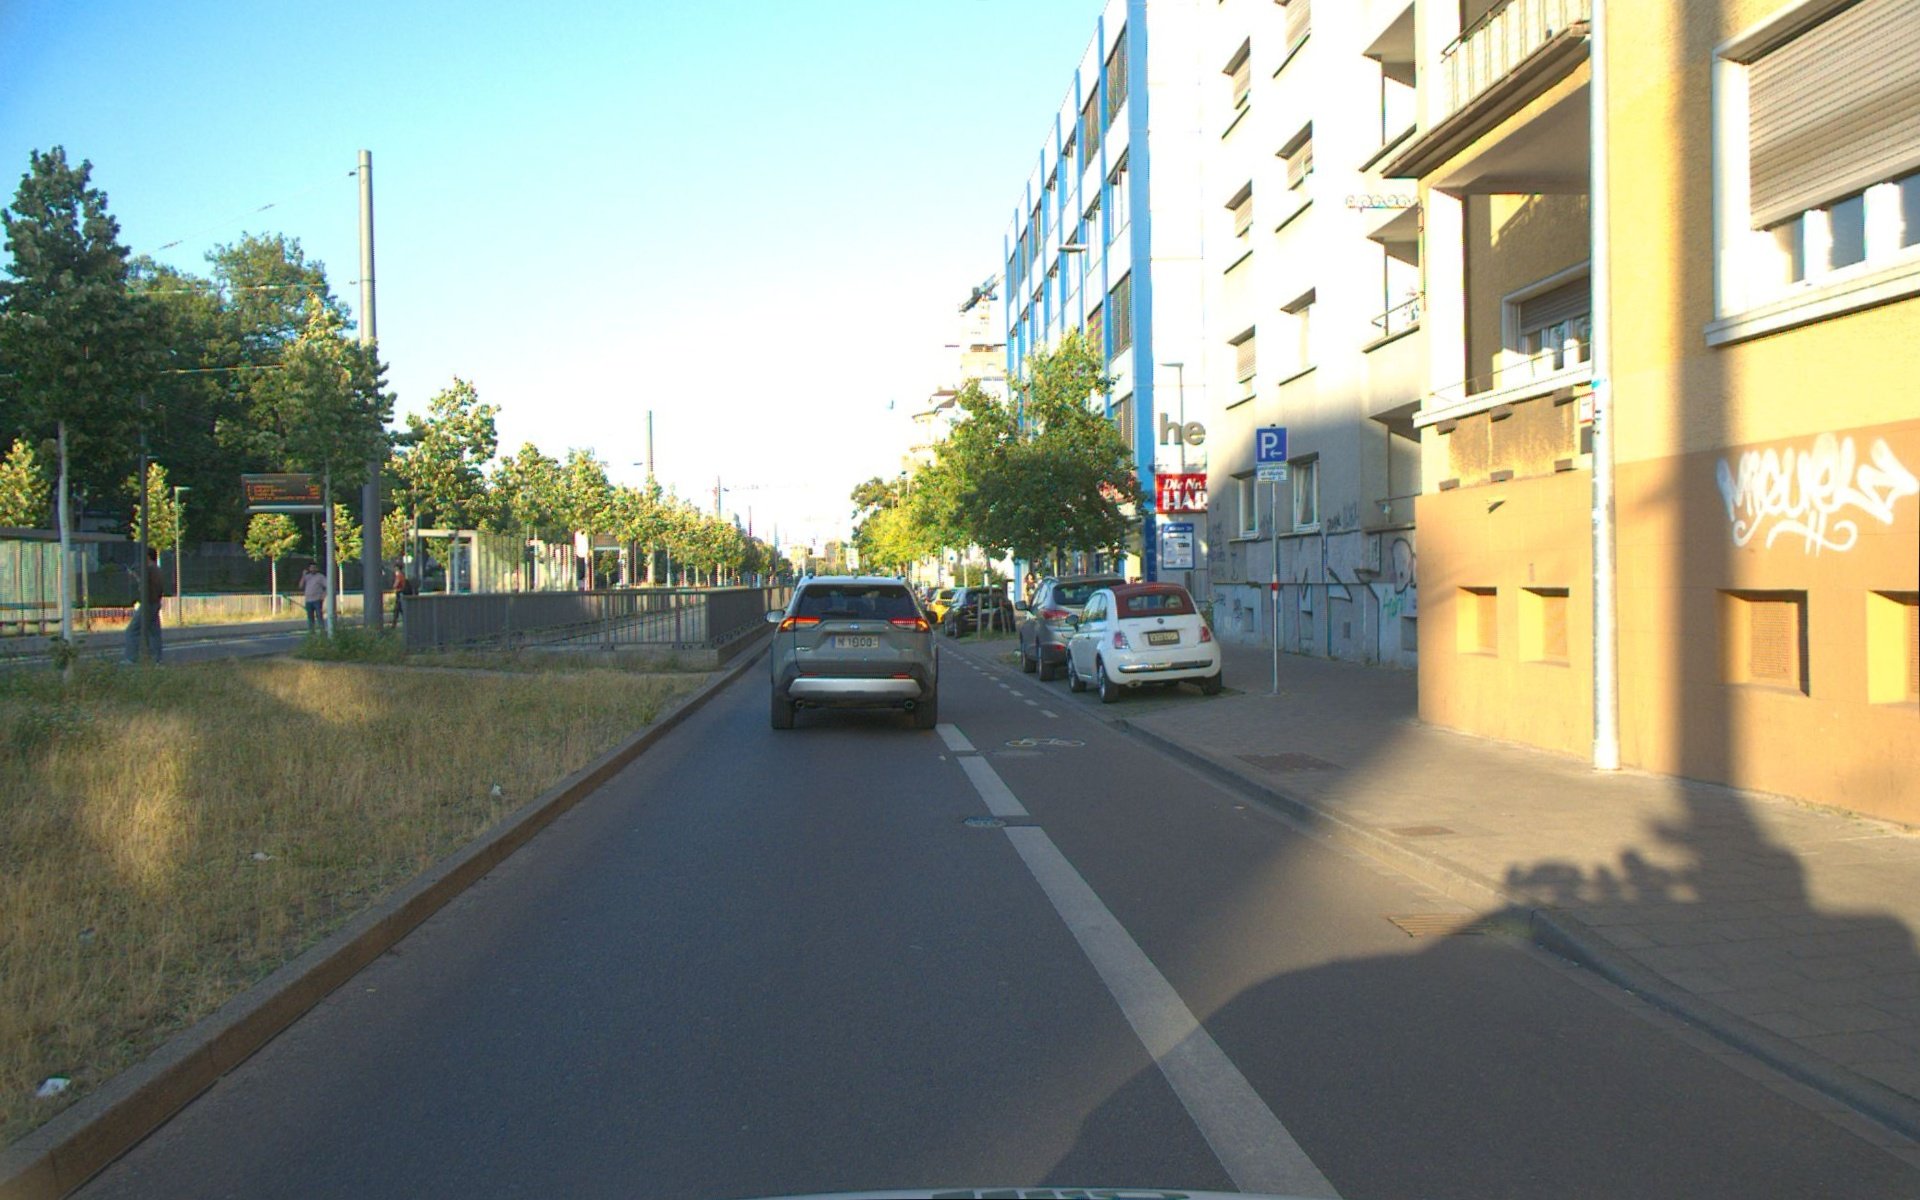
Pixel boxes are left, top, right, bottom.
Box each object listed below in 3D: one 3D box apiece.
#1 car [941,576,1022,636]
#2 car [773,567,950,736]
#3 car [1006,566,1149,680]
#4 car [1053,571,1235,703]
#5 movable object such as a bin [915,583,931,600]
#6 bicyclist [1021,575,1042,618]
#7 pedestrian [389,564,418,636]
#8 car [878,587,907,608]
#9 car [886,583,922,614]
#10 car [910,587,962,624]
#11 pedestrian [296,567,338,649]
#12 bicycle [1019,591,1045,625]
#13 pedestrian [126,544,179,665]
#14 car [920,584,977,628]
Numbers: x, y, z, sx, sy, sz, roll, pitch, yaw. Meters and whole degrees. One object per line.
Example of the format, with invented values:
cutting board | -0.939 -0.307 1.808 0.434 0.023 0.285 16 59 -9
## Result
car | 0.590 0.160 50.261 1.785 1.593 4.804 -5 1 -6
car | -1.242 0.534 19.281 1.822 1.744 4.187 1 0 -6
car | 1.908 0.339 28.178 1.722 1.682 4.525 -4 1 -4
car | 2.462 0.457 22.960 1.638 1.544 3.596 -5 1 -7
movable object such as a bin | -3.243 -0.718 145.284 1.236 1.487 1.122 -1 0 -8
bicyclist | 2.531 -0.119 58.719 0.547 1.501 0.622 -4 0 -6
pedestrian | -13.711 -0.005 40.748 0.624 1.759 0.633 -1 1 -17
car | -5.295 -0.217 129.249 1.759 1.496 4.438 -4 1 -7
car | -3.422 -0.092 100.129 1.819 1.736 4.248 -3 1 -6
car | -1.054 0.221 70.797 1.784 1.480 4.123 -2 0 -6
pedestrian | -14.147 0.165 36.407 0.712 1.775 0.634 -2 1 -12
bicycle | 2.557 0.272 58.747 0.543 1.149 1.971 -4 0 -6
pedestrian | -12.343 0.070 25.291 0.461 1.818 0.626 -1 0 3
car | -0.451 0.195 60.483 1.651 1.480 4.124 -2 0 -6
